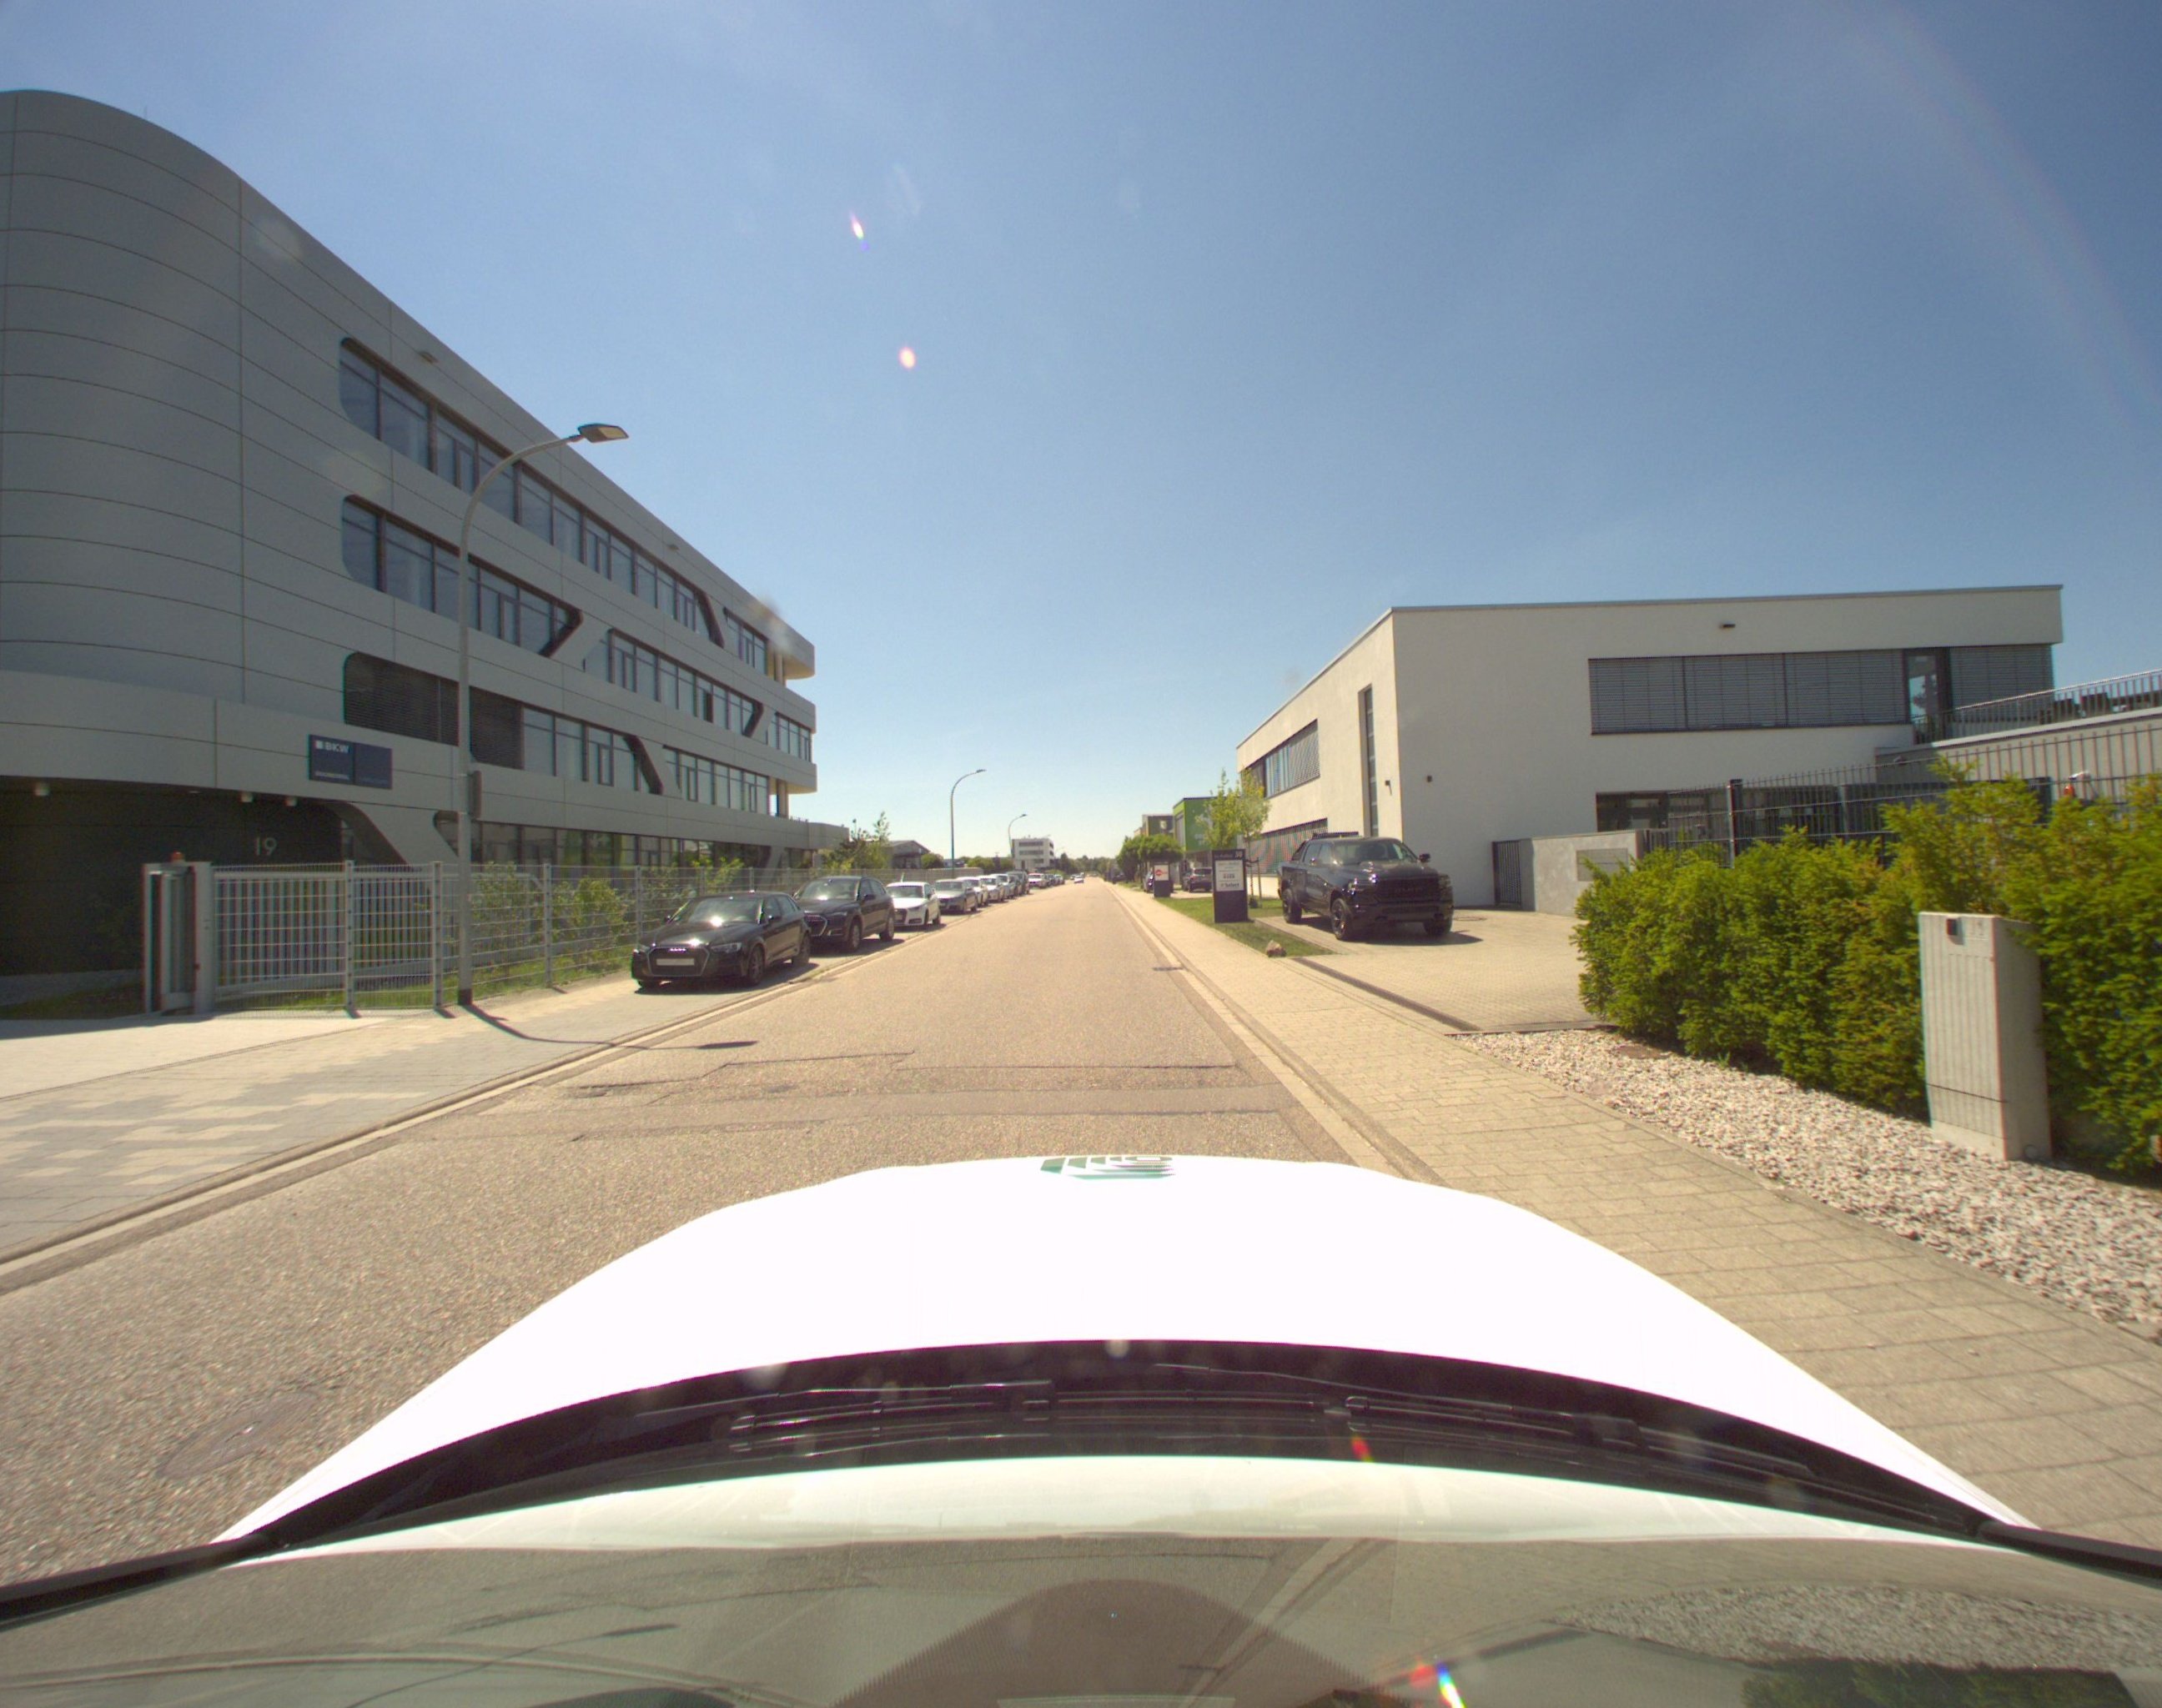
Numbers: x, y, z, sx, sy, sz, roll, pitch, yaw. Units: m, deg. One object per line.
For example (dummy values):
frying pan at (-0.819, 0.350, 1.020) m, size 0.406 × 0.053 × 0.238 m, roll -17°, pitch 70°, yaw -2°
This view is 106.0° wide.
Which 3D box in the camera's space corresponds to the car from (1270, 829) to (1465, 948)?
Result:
car at (5.745, 0.601, 17.301) m, size 1.988 × 2.013 × 5.798 m, roll -2°, pitch 0°, yaw -1°

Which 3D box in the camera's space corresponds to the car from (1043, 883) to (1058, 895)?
car at (-3.986, 4.629, 107.997) m, size 1.785 × 1.607 × 4.461 m, roll -1°, pitch -2°, yaw 0°

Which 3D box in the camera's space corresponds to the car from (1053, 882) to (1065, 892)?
car at (-3.621, 5.339, 133.113) m, size 1.763 × 1.592 × 4.358 m, roll -1°, pitch -3°, yaw 0°

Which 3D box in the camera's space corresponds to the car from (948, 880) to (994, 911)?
car at (-5.477, 2.059, 40.878) m, size 1.697 × 1.444 × 4.438 m, roll -1°, pitch -2°, yaw 0°

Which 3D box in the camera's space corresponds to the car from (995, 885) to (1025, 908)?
car at (-4.939, 2.913, 56.810) m, size 1.628 × 1.500 × 3.972 m, roll -1°, pitch -2°, yaw 2°

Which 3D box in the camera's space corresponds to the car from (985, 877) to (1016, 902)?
car at (-5.074, 2.244, 51.722) m, size 1.629 × 1.536 × 3.656 m, roll -1°, pitch -2°, yaw 0°

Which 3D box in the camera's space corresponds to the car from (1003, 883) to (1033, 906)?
car at (-4.747, 3.027, 61.555) m, size 1.796 × 1.720 × 4.622 m, roll -1°, pitch -2°, yaw 1°

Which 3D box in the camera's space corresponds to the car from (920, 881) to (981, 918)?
car at (-5.377, 1.850, 34.185) m, size 1.678 × 1.386 × 4.640 m, roll -1°, pitch -1°, yaw 1°

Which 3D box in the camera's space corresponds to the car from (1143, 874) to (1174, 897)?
car at (5.007, 2.028, 53.134) m, size 1.686 × 1.428 × 4.245 m, roll -1°, pitch -2°, yaw 1°

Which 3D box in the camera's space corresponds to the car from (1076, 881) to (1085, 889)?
car at (-0.025, 5.745, 152.528) m, size 1.698 × 1.411 × 4.782 m, roll -1°, pitch -2°, yaw 0°

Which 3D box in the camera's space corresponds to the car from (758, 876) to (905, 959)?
car at (-5.694, 1.382, 19.303) m, size 1.762 × 1.651 × 4.853 m, roll -2°, pitch -1°, yaw 2°

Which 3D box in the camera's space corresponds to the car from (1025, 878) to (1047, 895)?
car at (-4.464, 3.249, 81.702) m, size 1.780 × 1.542 × 4.366 m, roll -1°, pitch -2°, yaw 3°

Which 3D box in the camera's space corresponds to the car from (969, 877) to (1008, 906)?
car at (-5.184, 2.124, 46.261) m, size 1.697 × 1.536 × 4.570 m, roll -1°, pitch -2°, yaw 0°

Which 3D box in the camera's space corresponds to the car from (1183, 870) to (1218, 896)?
car at (7.695, 1.889, 52.825) m, size 1.717 × 1.633 × 4.022 m, roll -1°, pitch -2°, yaw 1°

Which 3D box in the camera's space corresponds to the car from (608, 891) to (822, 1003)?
car at (-5.886, 1.415, 13.697) m, size 1.765 × 1.466 × 4.183 m, roll -1°, pitch -1°, yaw -2°

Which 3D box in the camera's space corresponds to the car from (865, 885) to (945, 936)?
car at (-5.389, 1.702, 25.386) m, size 1.695 × 1.386 × 3.934 m, roll -1°, pitch -1°, yaw -2°

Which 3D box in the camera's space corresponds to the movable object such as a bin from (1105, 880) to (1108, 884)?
movable object such as a bin at (5.965, 6.523, 190.950) m, size 0.550 × 0.928 × 0.522 m, roll -6°, pitch -2°, yaw 4°

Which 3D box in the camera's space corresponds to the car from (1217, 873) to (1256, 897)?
car at (9.931, 1.996, 52.239) m, size 1.717 × 1.450 × 4.022 m, roll -1°, pitch -2°, yaw 1°
